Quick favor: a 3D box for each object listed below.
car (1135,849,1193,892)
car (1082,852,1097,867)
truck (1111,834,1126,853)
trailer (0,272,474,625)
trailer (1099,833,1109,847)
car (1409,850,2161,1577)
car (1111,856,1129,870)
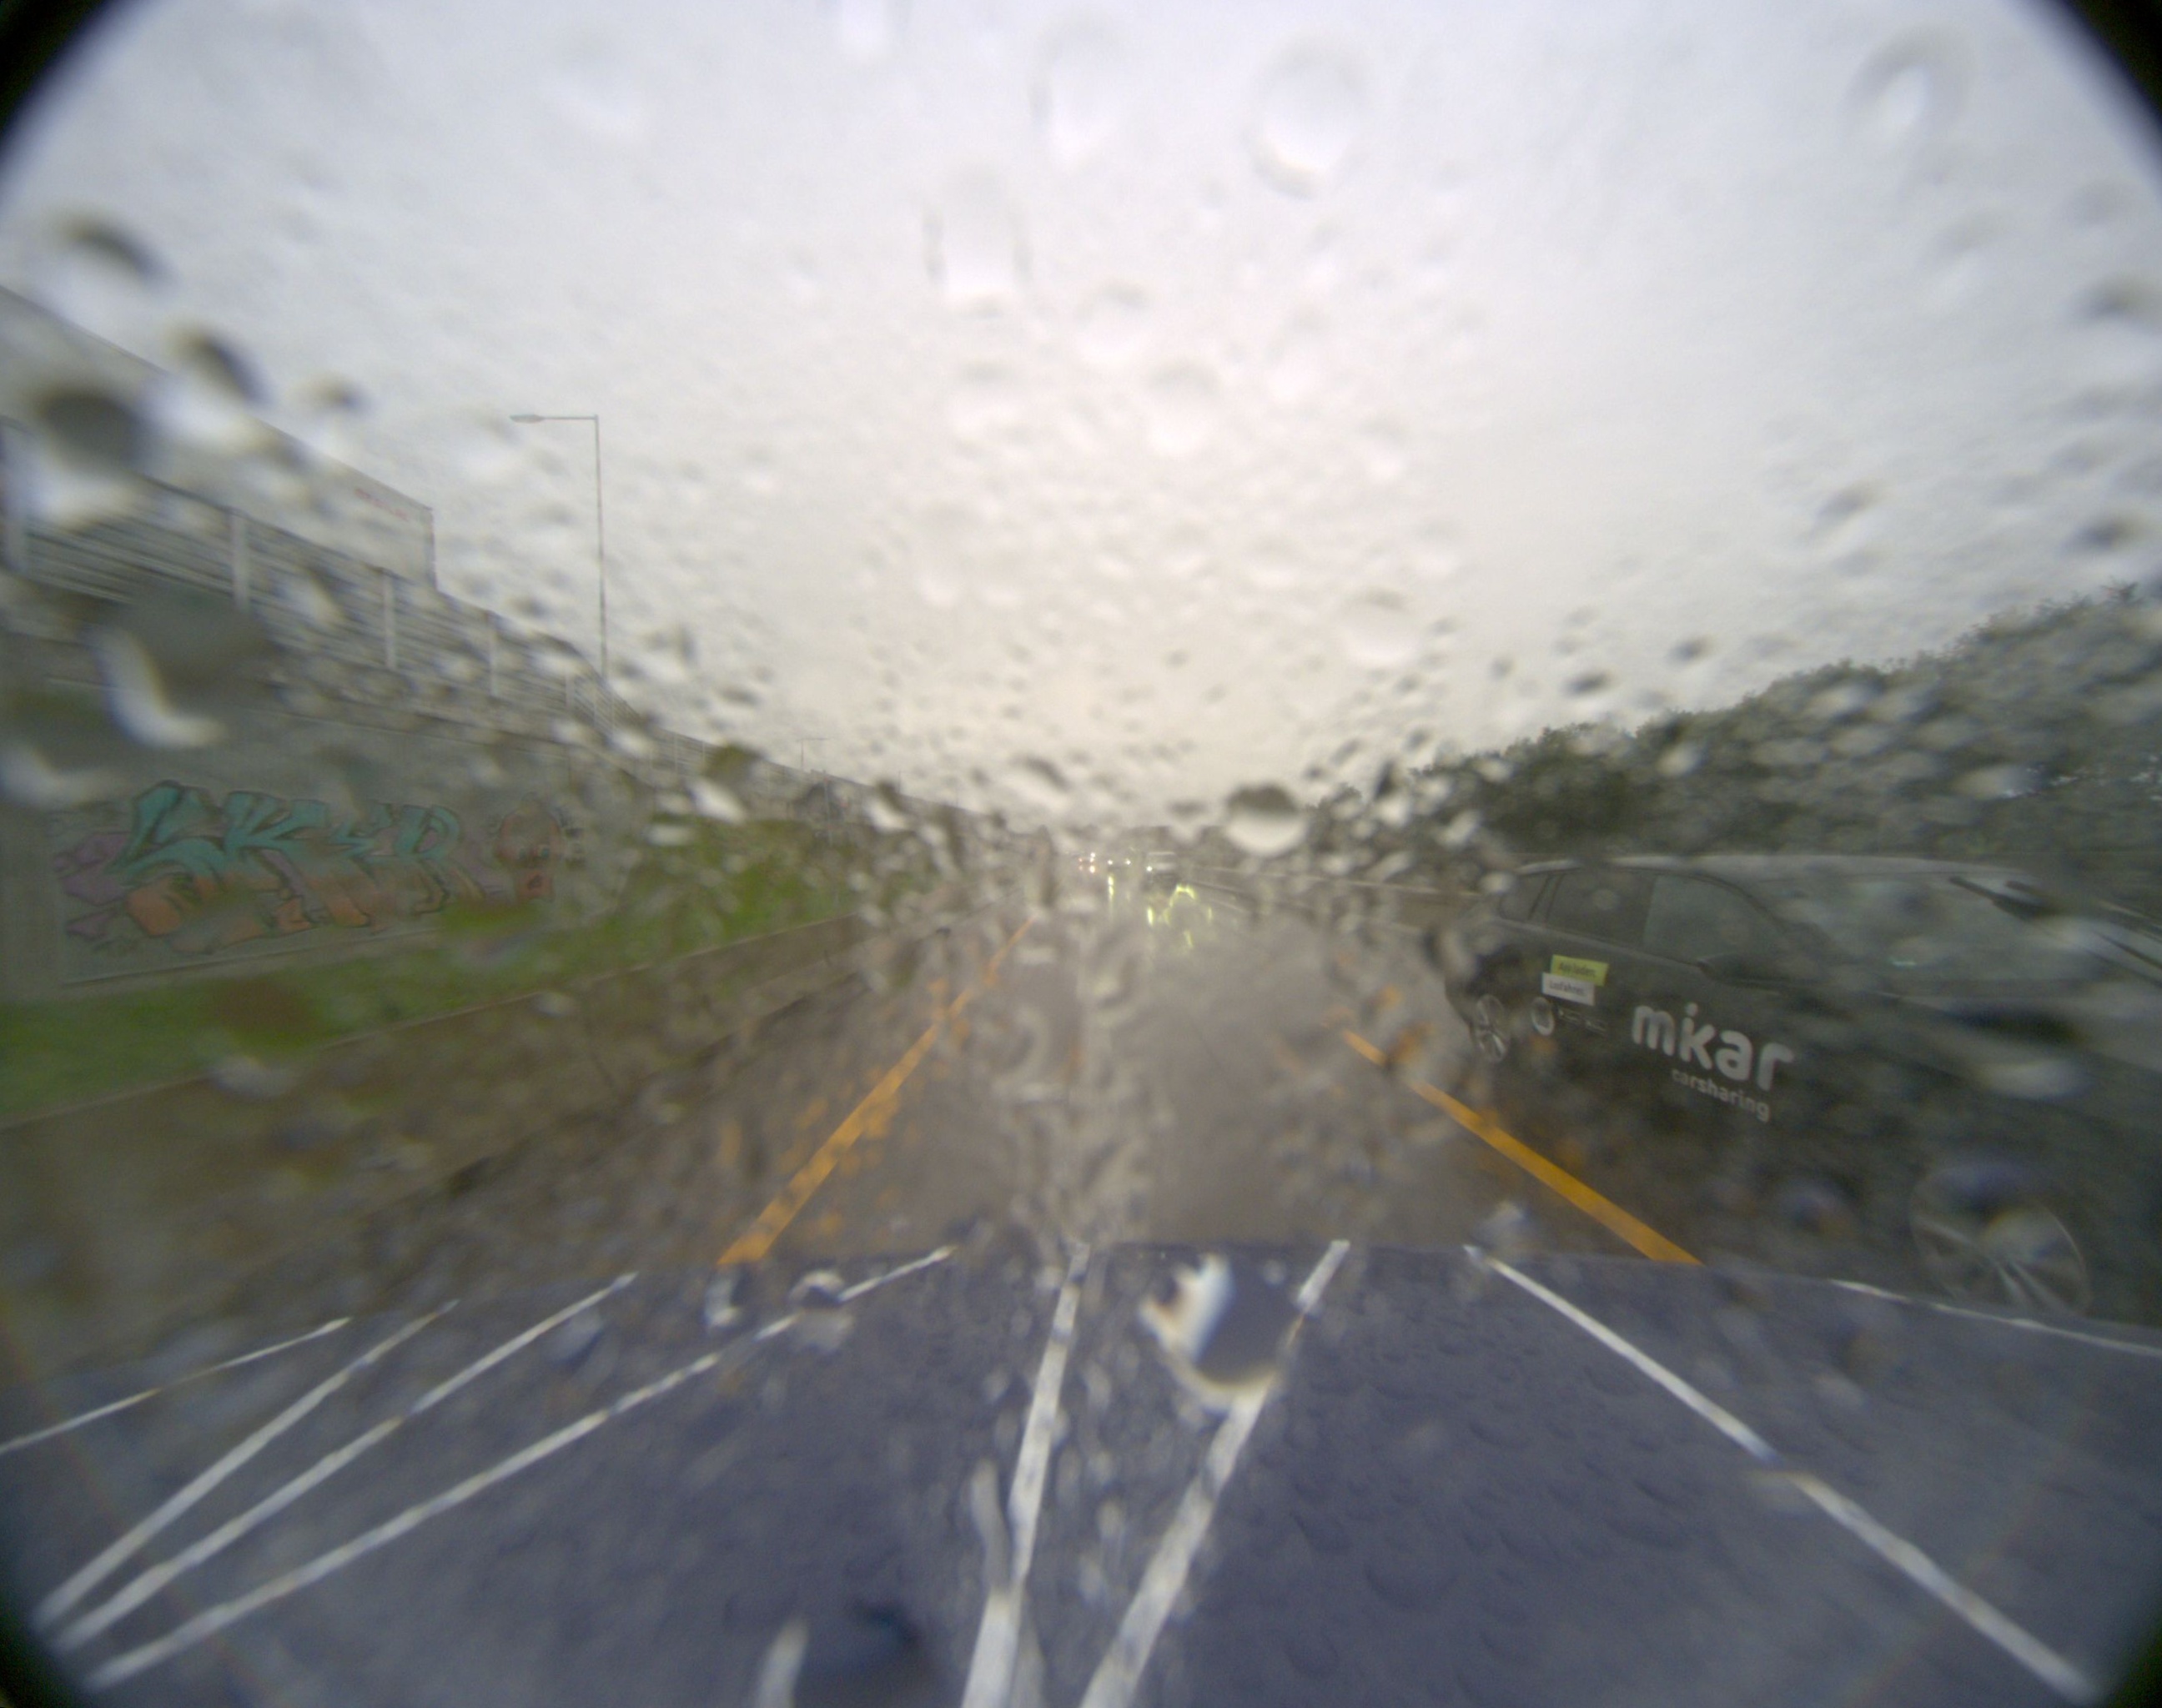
[{"bbox_3d":[3.666,0.698,34.059,1.972,1.671,3.998,-2,2,-2],"label":"car"},{"bbox_3d":[1.141,0.703,102.603,1.999,1.762,3.998,-2,2,0],"label":"car"},{"bbox_3d":[8.865,-2.549,180.212,3.012,4.143,9.827,0,2,0],"label":"truck"},{"bbox_3d":[-12.844,-5.290,7.719,1.998,2.094,13.765,-2,2,1],"label":"trailer"},{"bbox_3d":[7.457,-4.687,248.050,2.554,4.563,12.004,-2,2,-1],"label":"trailer"},{"bbox_3d":[3.361,0.766,3.315,1.943,1.519,4.796,-1,0,3],"label":"car"},{"bbox_3d":[3.321,0.739,65.518,1.335,1.105,3.198,1,0,-1],"label":"car"}]
